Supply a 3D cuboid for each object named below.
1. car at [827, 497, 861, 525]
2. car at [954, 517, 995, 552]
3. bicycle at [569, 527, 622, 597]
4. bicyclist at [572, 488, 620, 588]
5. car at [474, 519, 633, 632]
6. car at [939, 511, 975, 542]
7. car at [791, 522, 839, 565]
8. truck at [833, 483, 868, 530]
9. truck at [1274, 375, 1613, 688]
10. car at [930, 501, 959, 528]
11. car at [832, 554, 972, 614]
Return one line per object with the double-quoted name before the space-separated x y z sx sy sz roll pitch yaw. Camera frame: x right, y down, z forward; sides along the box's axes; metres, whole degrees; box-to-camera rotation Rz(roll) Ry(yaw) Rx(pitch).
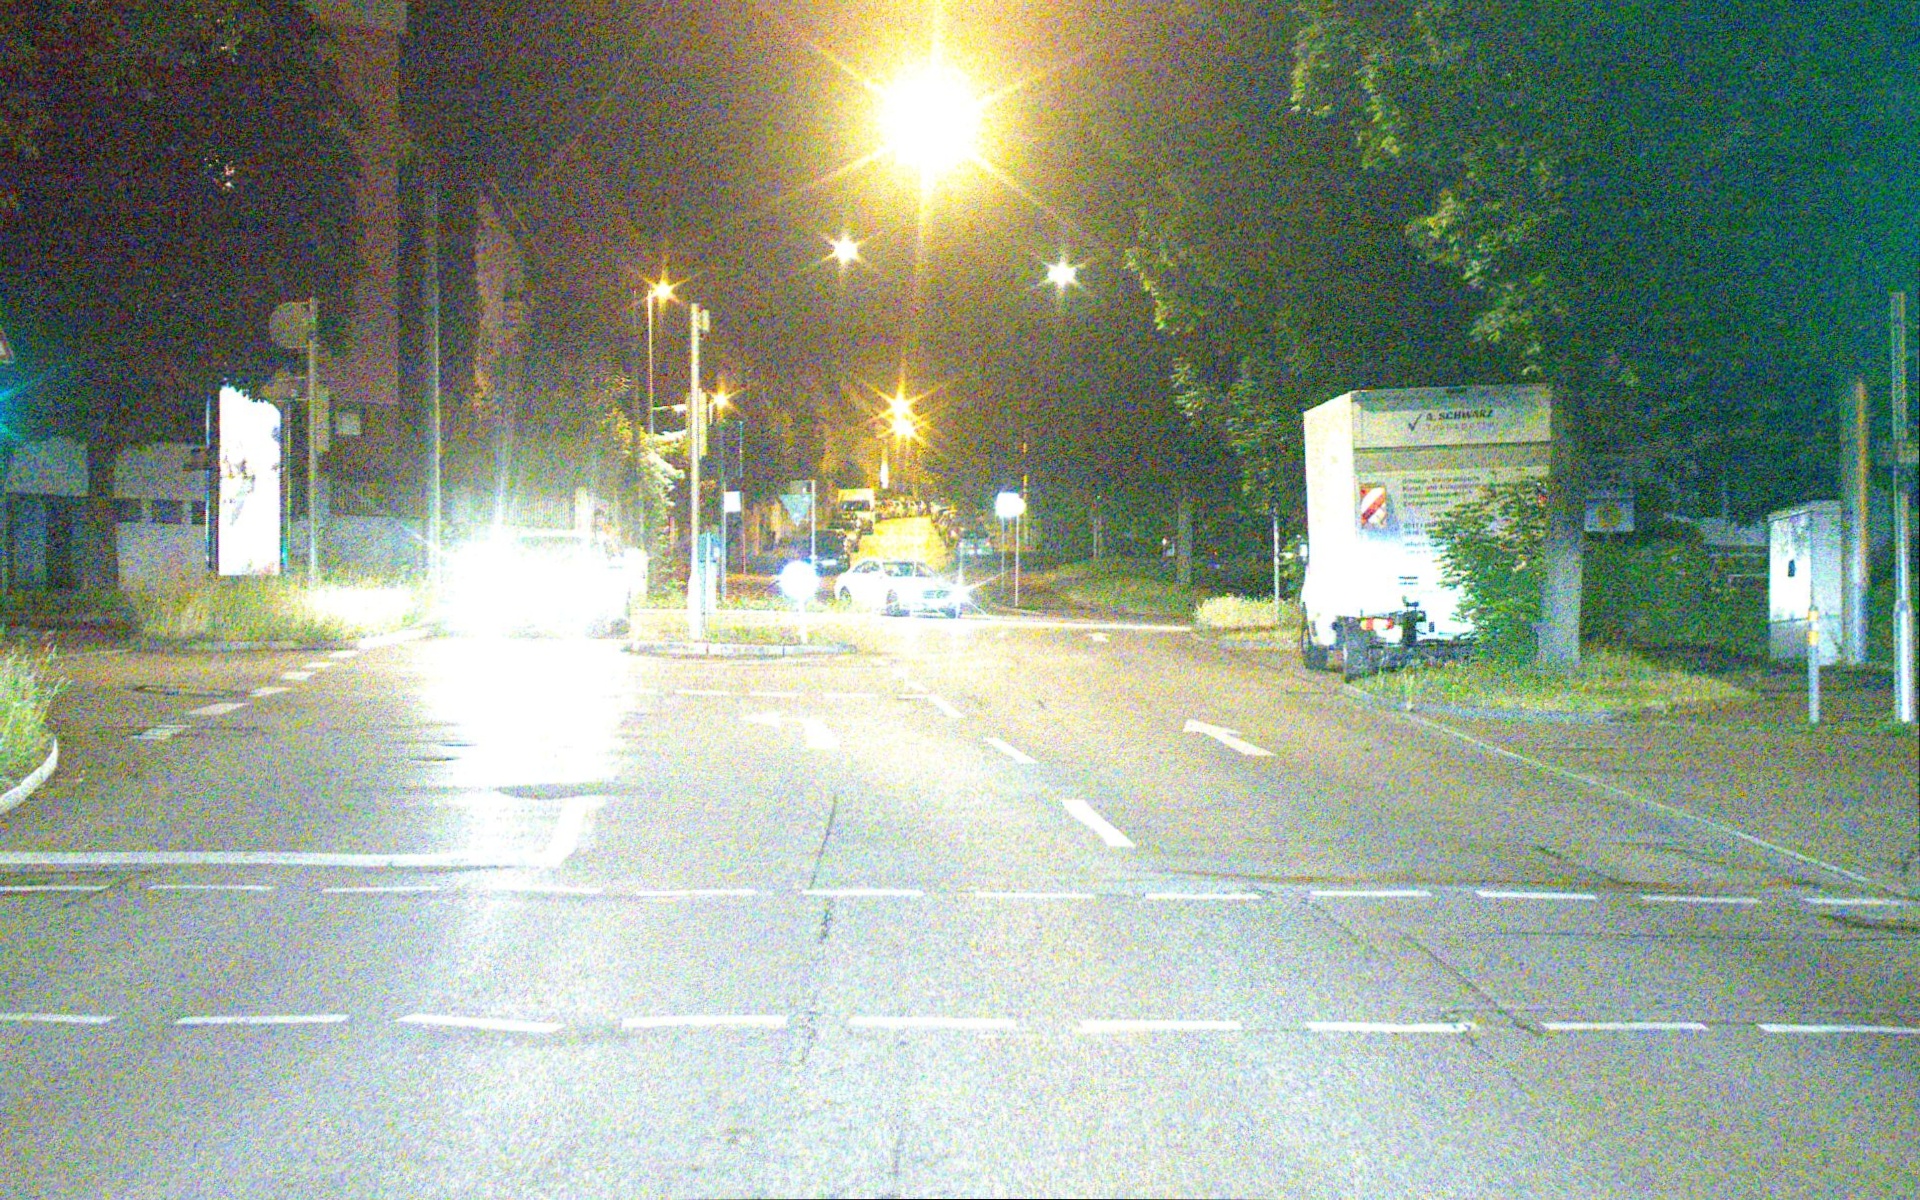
"car" -6.415 -4.907 190.210 1.815 1.486 4.001 1 1 -2
"car" 0.611 -2.792 146.461 1.634 1.447 3.485 1 1 -1
"bicycle" -6.052 -0.639 57.210 0.696 1.145 1.951 1 1 -1
"bicyclist" -6.049 -1.029 57.163 0.690 1.631 0.896 1 1 -1
"car" -5.776 -0.384 49.254 1.857 1.529 4.028 1 1 -1
"car" -0.170 -3.479 162.370 1.634 1.447 3.485 1 1 -1
"car" -5.789 -2.271 137.672 1.815 1.678 4.000 0 1 -1
"truck" -6.781 -5.766 212.651 2.086 2.838 5.832 1 1 -2
"truck" 5.135 -0.752 37.628 2.749 3.100 6.259 1 1 0
"car" -0.885 -4.834 194.567 1.634 1.447 3.485 1 1 -1
"car" -1.478 -0.408 85.599 1.916 1.384 4.584 0 1 -22
